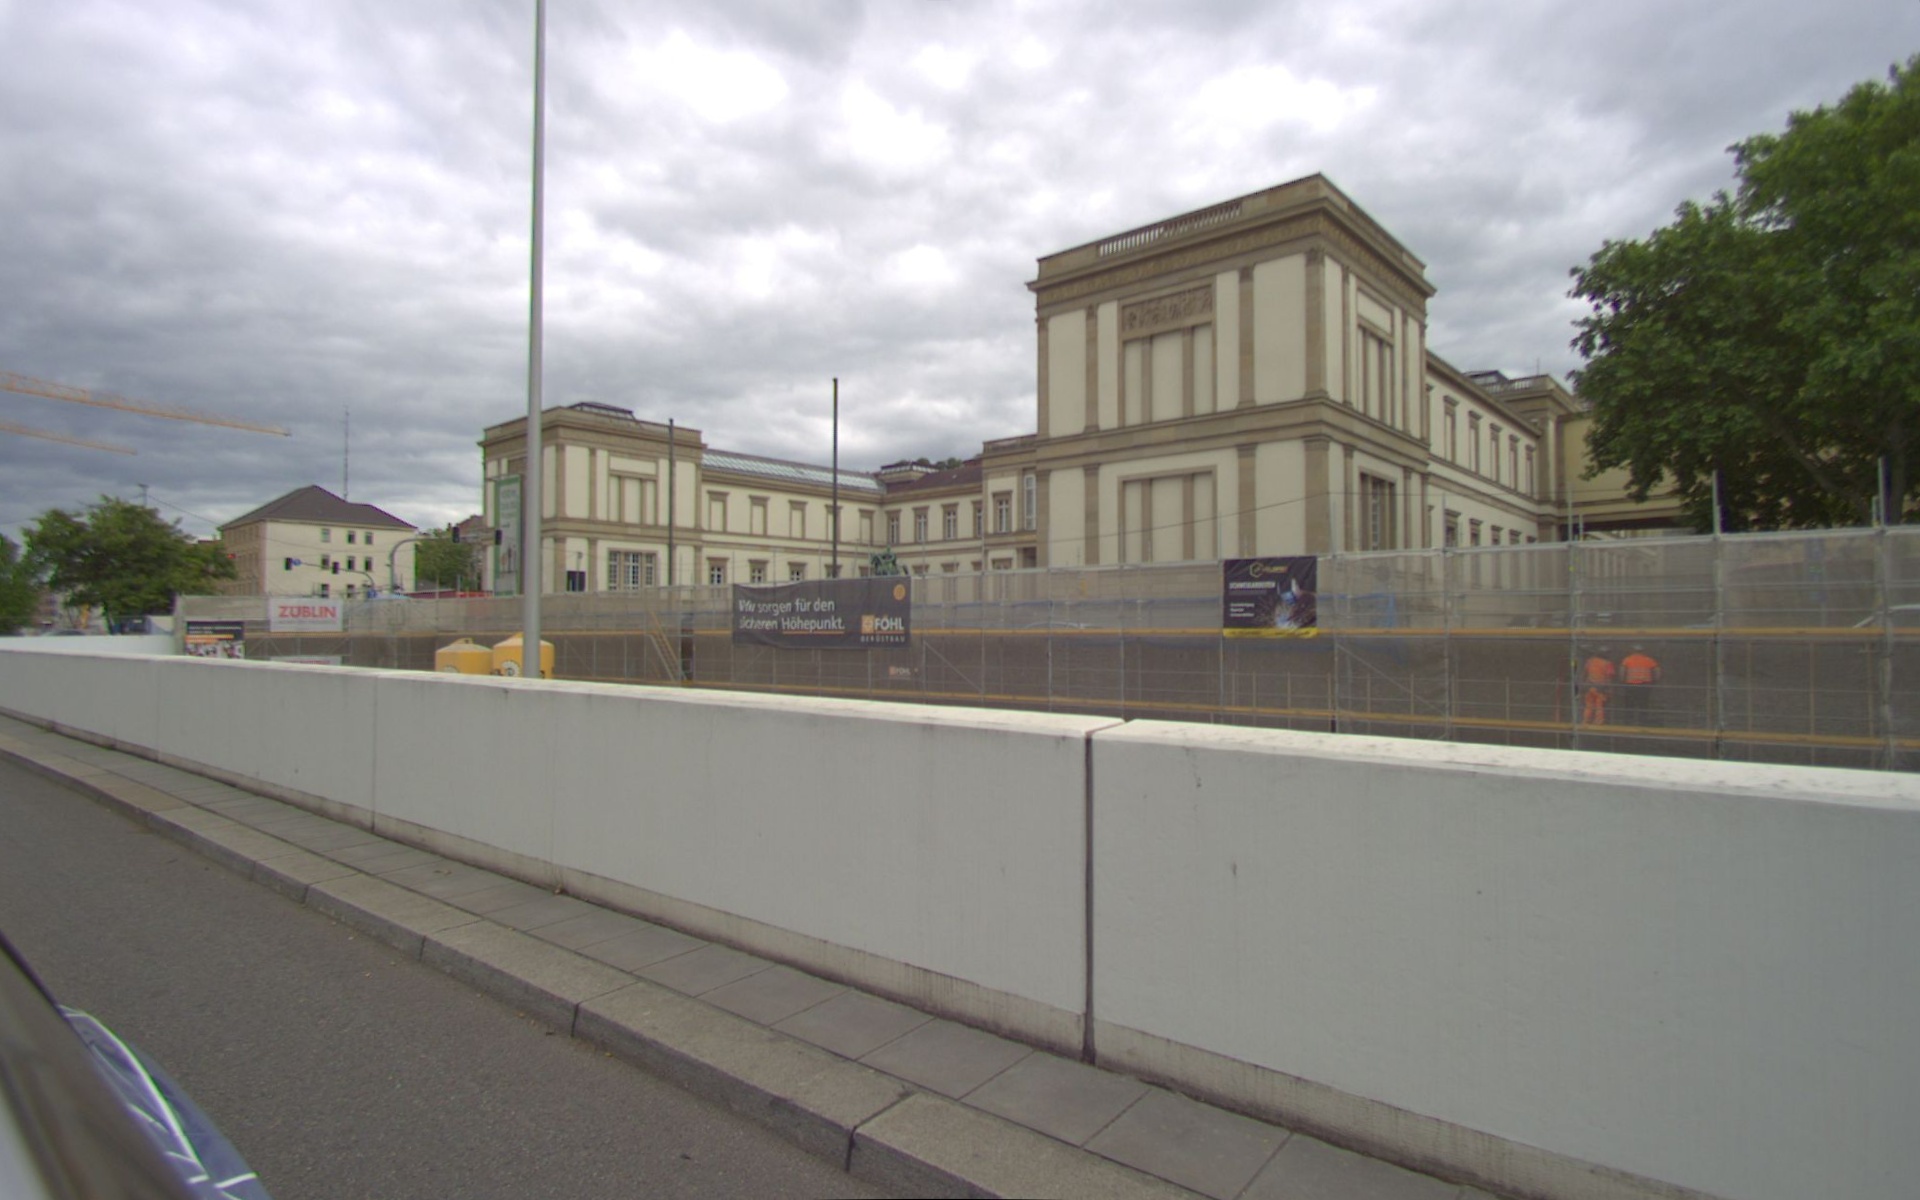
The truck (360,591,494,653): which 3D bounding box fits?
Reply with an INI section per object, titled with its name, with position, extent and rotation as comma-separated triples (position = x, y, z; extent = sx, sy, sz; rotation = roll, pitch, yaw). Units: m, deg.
[truck]
position = -39.301, 1.776, 74.030
extent = 16.606, 4.114, 2.886
rotation = -3, -4, 41
